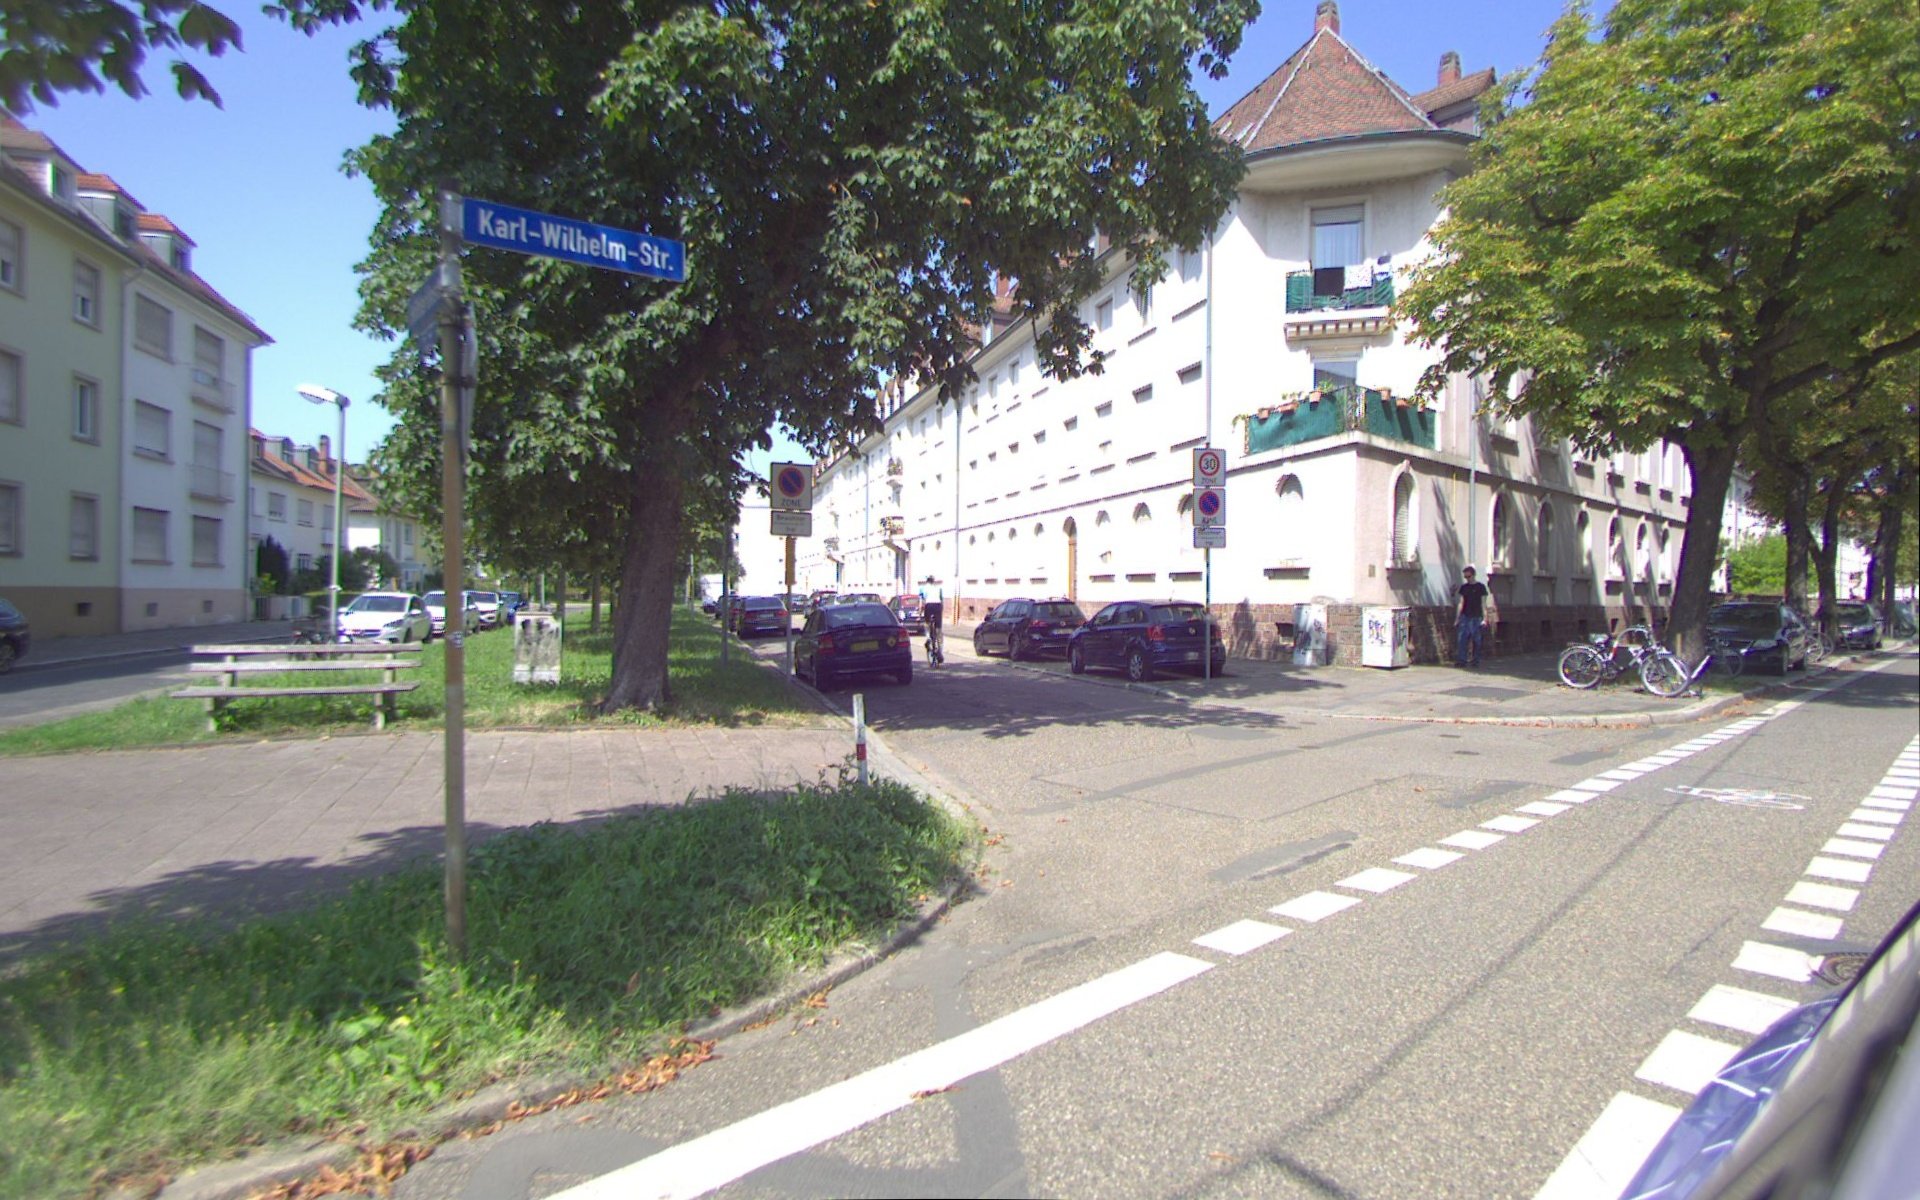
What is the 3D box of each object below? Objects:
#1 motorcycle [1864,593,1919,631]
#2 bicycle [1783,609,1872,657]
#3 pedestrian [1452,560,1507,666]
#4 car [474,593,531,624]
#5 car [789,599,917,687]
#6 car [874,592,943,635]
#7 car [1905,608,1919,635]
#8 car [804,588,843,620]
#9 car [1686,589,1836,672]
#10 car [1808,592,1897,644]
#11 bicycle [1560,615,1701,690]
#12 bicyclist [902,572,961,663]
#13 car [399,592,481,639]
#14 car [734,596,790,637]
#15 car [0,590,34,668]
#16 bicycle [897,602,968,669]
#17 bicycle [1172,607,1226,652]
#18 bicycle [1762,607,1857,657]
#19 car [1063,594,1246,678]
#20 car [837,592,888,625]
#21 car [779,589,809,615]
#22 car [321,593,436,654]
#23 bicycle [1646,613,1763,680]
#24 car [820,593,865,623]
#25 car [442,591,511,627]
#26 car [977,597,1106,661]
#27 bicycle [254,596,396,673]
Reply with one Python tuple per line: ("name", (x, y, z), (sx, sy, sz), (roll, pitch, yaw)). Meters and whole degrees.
("motorcycle", (41.168, 0.510, 44.341), (0.950, 1.559, 2.348), (1, 2, -2))
("bicycle", (21.155, 0.779, 24.713), (0.391, 1.118, 1.610), (1, -1, -36))
("pedestrian", (9.668, 0.229, 18.829), (0.701, 1.916, 0.707), (1, 0, -41))
("car", (-20.286, 0.337, 44.985), (1.665, 1.295, 3.895), (-1, 0, -14))
("car", (-2.026, 0.677, 18.146), (1.725, 1.365, 3.959), (-1, 0, -14))
("car", (-1.964, 0.461, 37.559), (1.725, 1.467, 3.959), (-1, 0, -15))
("car", (56.602, 1.254, 58.990), (4.759, 1.496, 1.894), (1, 0, -43))
("car", (-7.953, 0.217, 58.616), (1.725, 1.769, 3.959), (-1, 0, -15))
("car", (17.247, 0.601, 21.694), (4.699, 1.551, 1.843), (1, 1, -43))
("car", (29.468, 0.601, 33.372), (4.045, 1.552, 1.842), (3, -1, -43))
("bicycle", (10.257, 0.778, 15.528), (0.556, 1.045, 1.715), (1, 0, -41))
("bicyclist", (-0.605, 0.357, 21.078), (1.105, 1.860, 0.957), (1, 0, -9))
("car", (-17.059, 0.464, 33.372), (1.604, 1.448, 3.792), (-1, 0, -14))
("car", (-7.163, 0.567, 36.422), (1.725, 1.365, 3.959), (-1, 0, -14))
("car", (-17.818, 0.536, 16.889), (1.647, 1.400, 4.292), (-1, 0, -14))
("bicycle", (-0.618, 0.694, 21.178), (1.128, 1.285, 2.716), (1, 0, -9))
("bicycle", (5.294, 0.642, 22.516), (0.405, 0.954, 1.685), (1, 0, -15))
("bicycle", (20.697, 0.759, 24.686), (0.370, 1.164, 1.727), (1, -1, -36))
("car", (3.469, 0.583, 18.734), (1.725, 1.365, 3.617), (-1, 0, -20))
("car", (-4.612, 0.384, 47.448), (1.725, 1.467, 3.959), (-1, 0, -15))
("car", (-11.974, 0.138, 73.040), (1.725, 1.769, 3.959), (-1, 0, -15))
("car", (-15.136, 0.557, 26.543), (1.604, 1.456, 3.984), (-1, 0, -14))
("bicycle", (13.883, 0.845, 18.907), (0.370, 1.151, 1.728), (1, 0, -36))
("car", (-6.125, 0.375, 52.502), (1.725, 1.467, 3.959), (-1, 0, -15))
("car", (-18.726, 0.320, 39.346), (1.665, 1.295, 3.895), (-1, 0, -14))
("car", (1.846, 0.631, 24.176), (1.725, 1.365, 3.617), (-1, 0, -20))
("bicycle", (-10.266, 0.534, 16.549), (1.139, 1.127, 3.220), (1, -1, -17))
